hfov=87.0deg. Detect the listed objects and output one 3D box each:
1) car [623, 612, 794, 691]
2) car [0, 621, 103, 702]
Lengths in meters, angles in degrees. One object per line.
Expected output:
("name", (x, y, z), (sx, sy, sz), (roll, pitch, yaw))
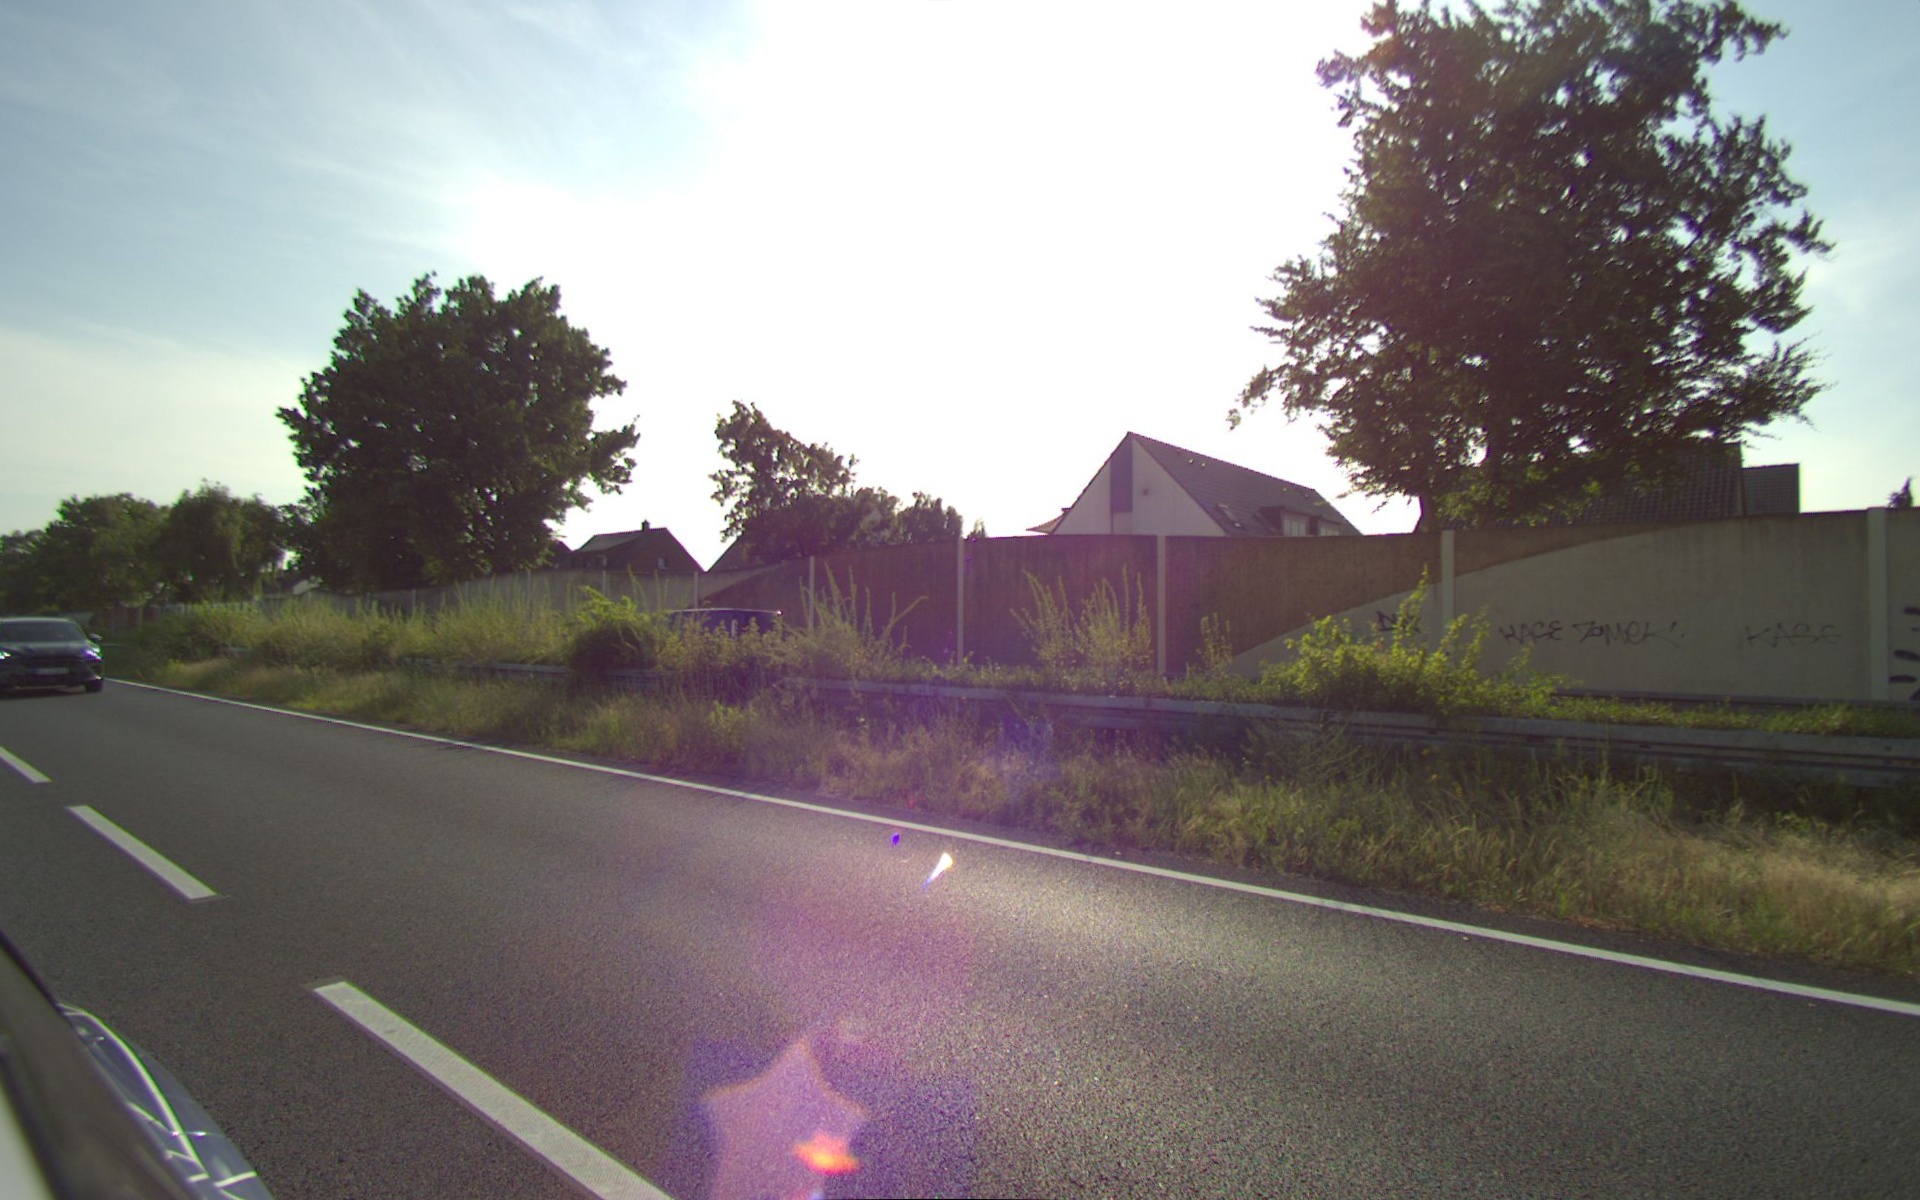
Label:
("car", (-6.545, 1.262, 26.094), (4.680, 1.837, 1.973), (-1, -1, 42))
("car", (-19.860, 1.246, 21.613), (4.244, 1.536, 1.798), (-1, -1, 41))
